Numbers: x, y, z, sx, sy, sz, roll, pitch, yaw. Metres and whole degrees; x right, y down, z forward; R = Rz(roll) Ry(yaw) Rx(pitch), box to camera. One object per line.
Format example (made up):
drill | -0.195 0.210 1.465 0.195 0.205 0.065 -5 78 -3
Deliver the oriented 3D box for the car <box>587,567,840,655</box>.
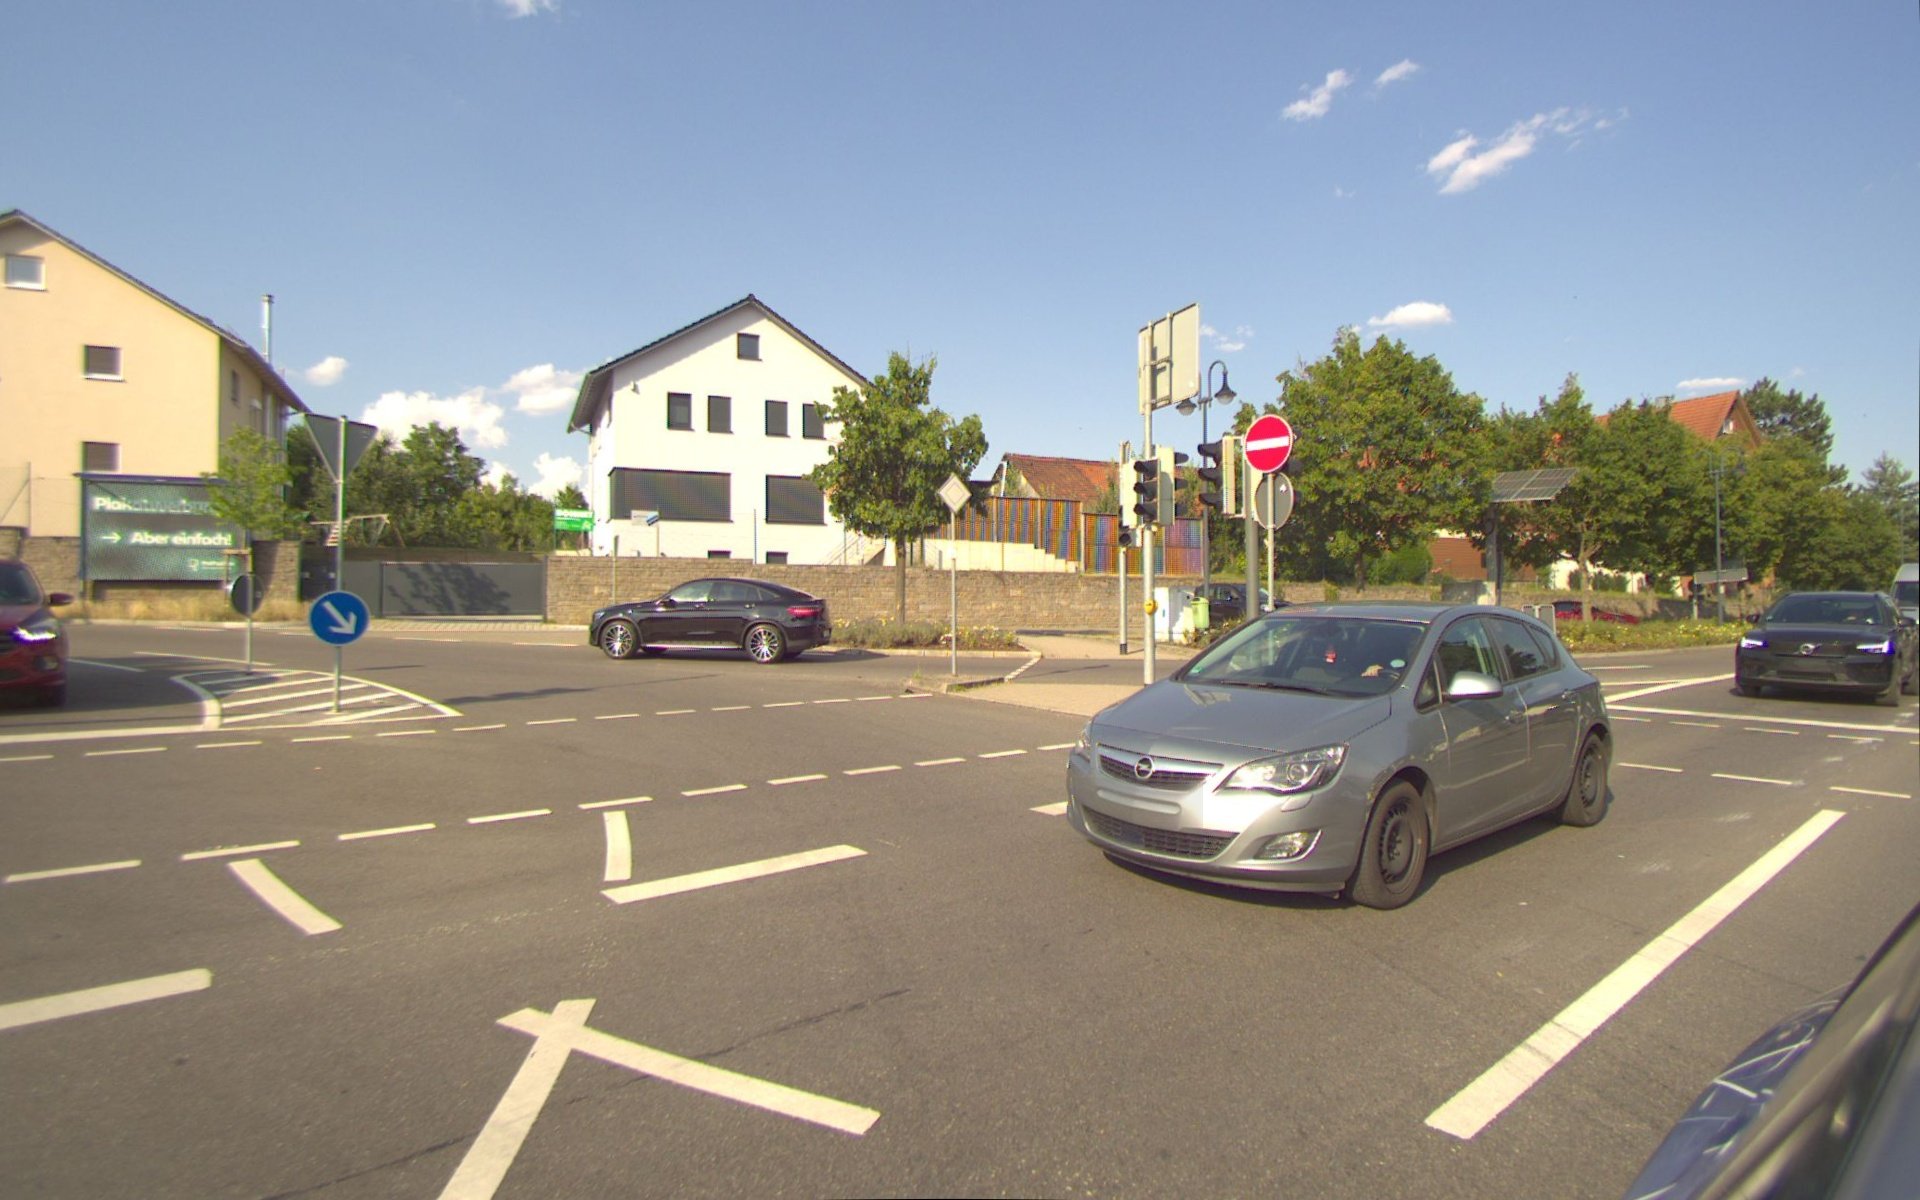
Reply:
car | -4.683 0.211 19.563 4.415 1.586 1.842 0 -1 5

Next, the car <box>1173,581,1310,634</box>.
car | 8.425 0.216 30.613 1.644 1.475 4.085 0 0 -28

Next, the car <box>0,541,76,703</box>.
car | -11.506 0.216 11.518 4.239 1.646 1.833 0 0 44

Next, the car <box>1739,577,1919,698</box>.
car | 13.577 0.506 15.559 3.985 1.626 1.790 0 0 -41

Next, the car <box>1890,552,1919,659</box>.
car | 26.884 0.144 27.451 6.539 2.691 2.037 0 1 -44

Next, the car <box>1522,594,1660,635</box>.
car | 23.342 0.518 37.583 1.714 1.449 4.002 0 0 -33

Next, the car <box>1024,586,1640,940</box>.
car | 2.426 0.681 6.073 4.069 1.441 1.651 1 -1 -40
